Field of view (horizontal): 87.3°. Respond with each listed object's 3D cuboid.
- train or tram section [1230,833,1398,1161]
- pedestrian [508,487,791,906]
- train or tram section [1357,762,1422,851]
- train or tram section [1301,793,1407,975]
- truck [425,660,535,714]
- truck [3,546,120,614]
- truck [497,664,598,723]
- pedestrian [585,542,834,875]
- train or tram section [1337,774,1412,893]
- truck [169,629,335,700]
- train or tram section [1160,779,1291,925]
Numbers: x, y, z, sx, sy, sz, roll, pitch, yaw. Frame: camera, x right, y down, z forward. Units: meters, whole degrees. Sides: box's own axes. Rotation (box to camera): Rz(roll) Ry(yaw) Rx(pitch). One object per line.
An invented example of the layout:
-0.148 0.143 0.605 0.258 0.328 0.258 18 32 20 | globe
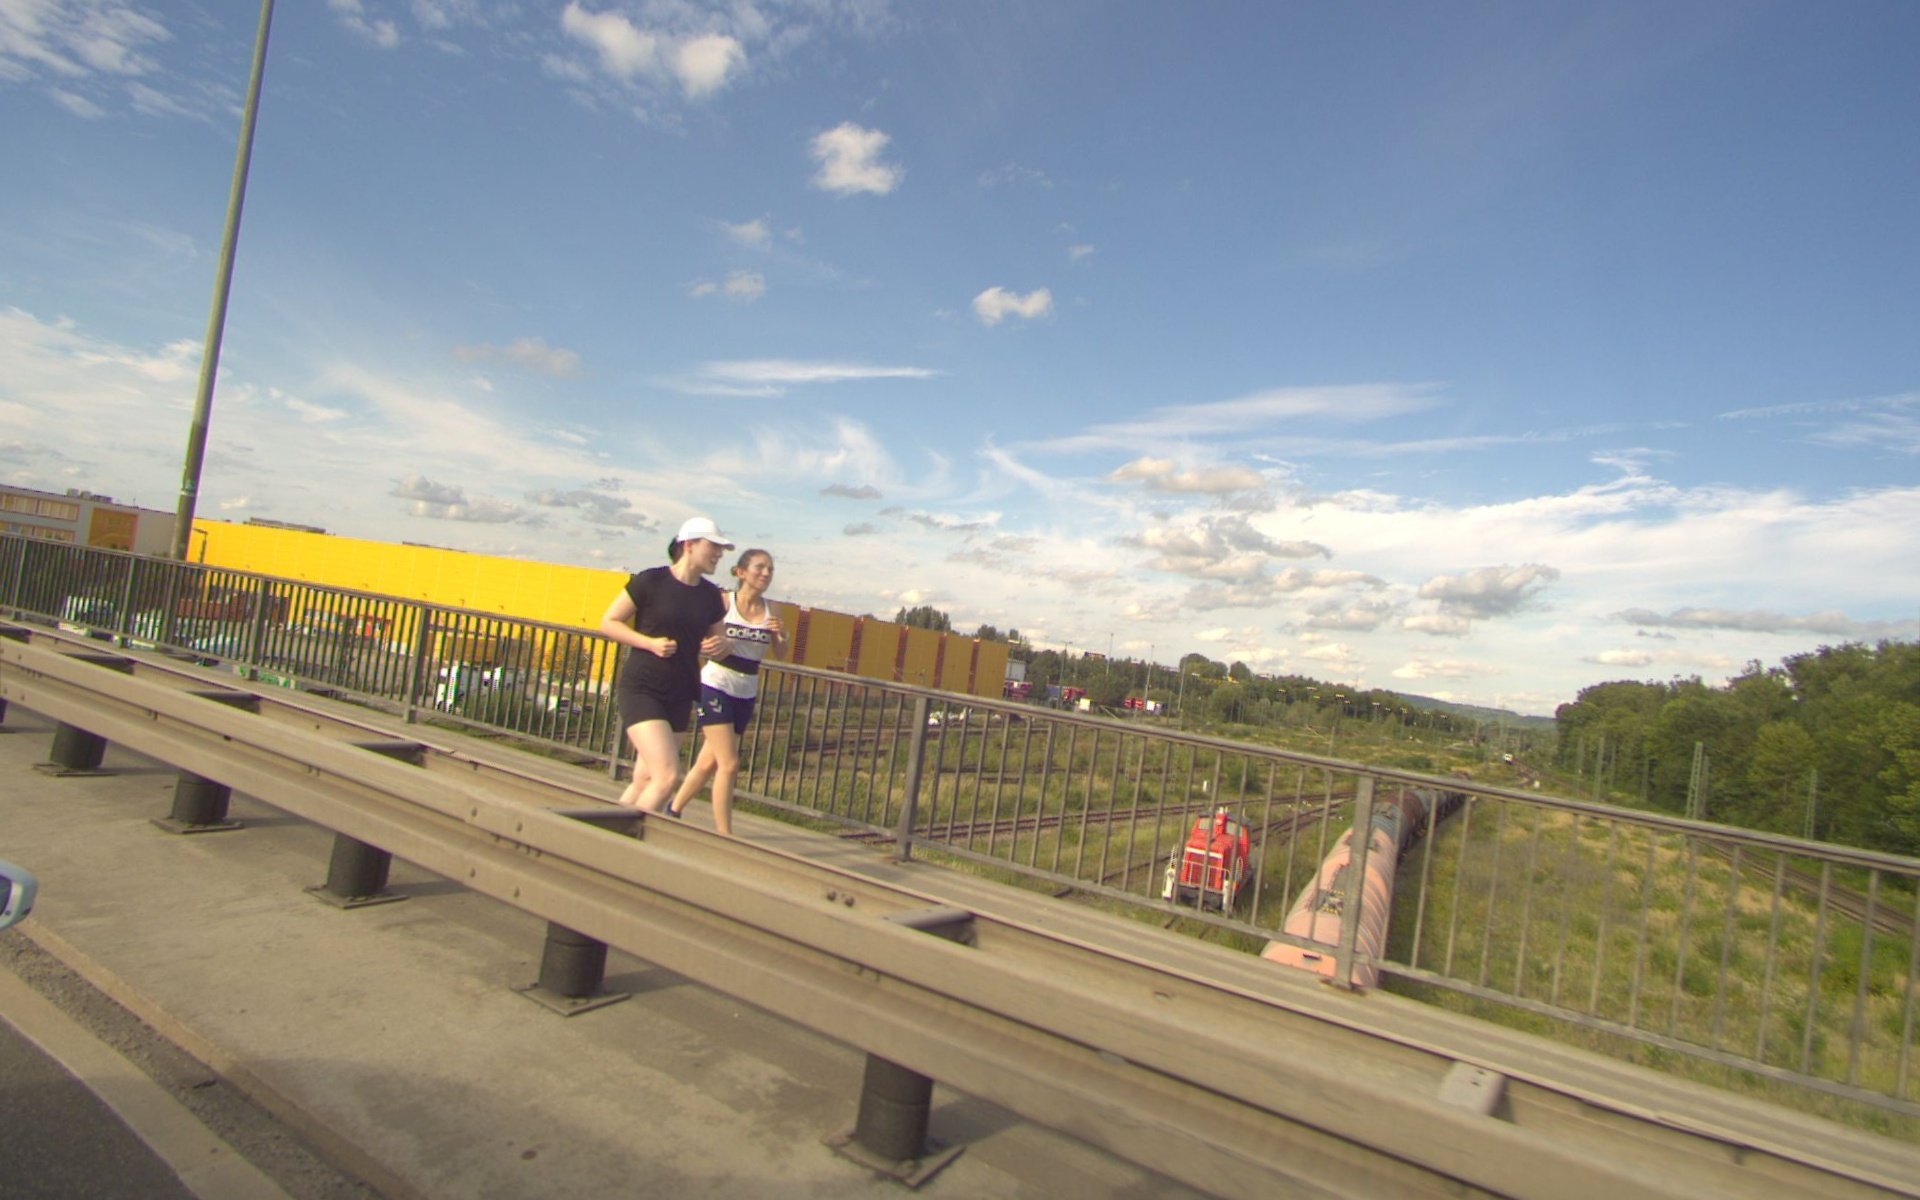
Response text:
11.751 11.176 31.759 3.041 4.768 16.742 6 -1 25 | train or tram section
-1.407 0.391 4.582 0.851 1.681 0.677 6 0 32 | pedestrian
33.046 15.396 76.910 3.043 4.766 16.743 6 -2 27 | train or tram section
18.724 12.464 46.850 3.042 4.768 16.741 6 -1 25 | train or tram section
-37.096 6.728 78.081 2.620 3.661 7.227 8 0 27 | truck
-81.160 -1.816 90.834 11.077 4.914 3.639 6 0 26 | truck
-33.670 7.560 82.051 8.463 3.421 2.036 8 1 24 | truck
-1.337 0.538 5.394 0.944 1.562 0.677 6 0 30 | pedestrian
25.775 13.887 61.953 3.042 4.766 16.749 6 -2 25 | train or tram section
-47.520 4.410 67.878 2.620 4.140 8.612 8 0 27 | truck
14.083 12.303 51.548 3.042 4.194 17.294 6 -1 25 | train or tram section
